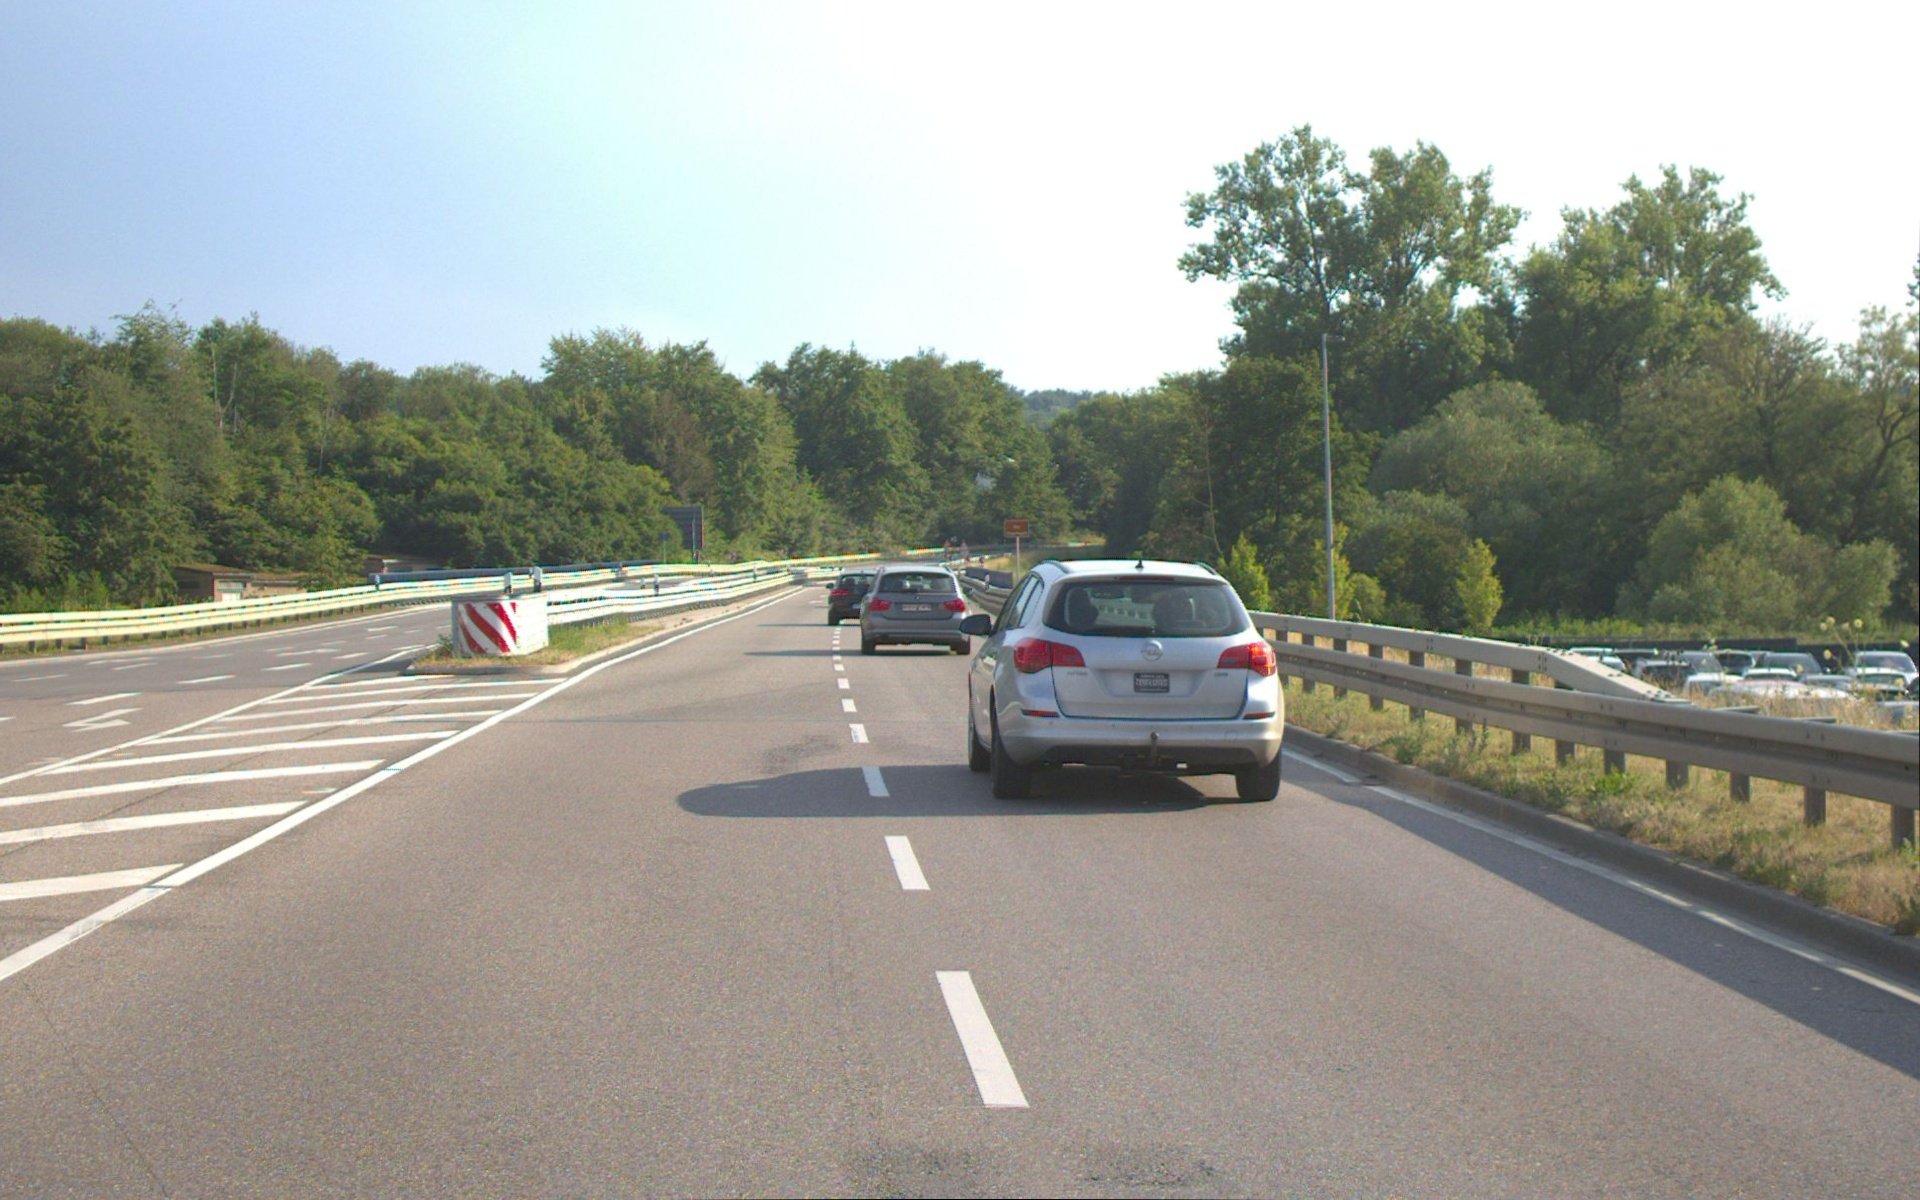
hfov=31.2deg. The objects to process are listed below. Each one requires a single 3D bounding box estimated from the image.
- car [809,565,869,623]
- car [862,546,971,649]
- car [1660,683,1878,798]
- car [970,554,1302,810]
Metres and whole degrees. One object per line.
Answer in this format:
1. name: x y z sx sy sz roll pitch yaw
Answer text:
1. car: -3.145 -0.152 89.703 1.492 1.471 3.359 1 0 -1
2. car: -0.715 -0.033 55.762 1.667 1.568 4.000 1 0 -1
3. car: 12.780 2.194 54.606 1.879 1.620 4.730 1 0 -6
4. car: 1.046 0.493 22.271 1.809 1.481 4.000 1 0 -2
